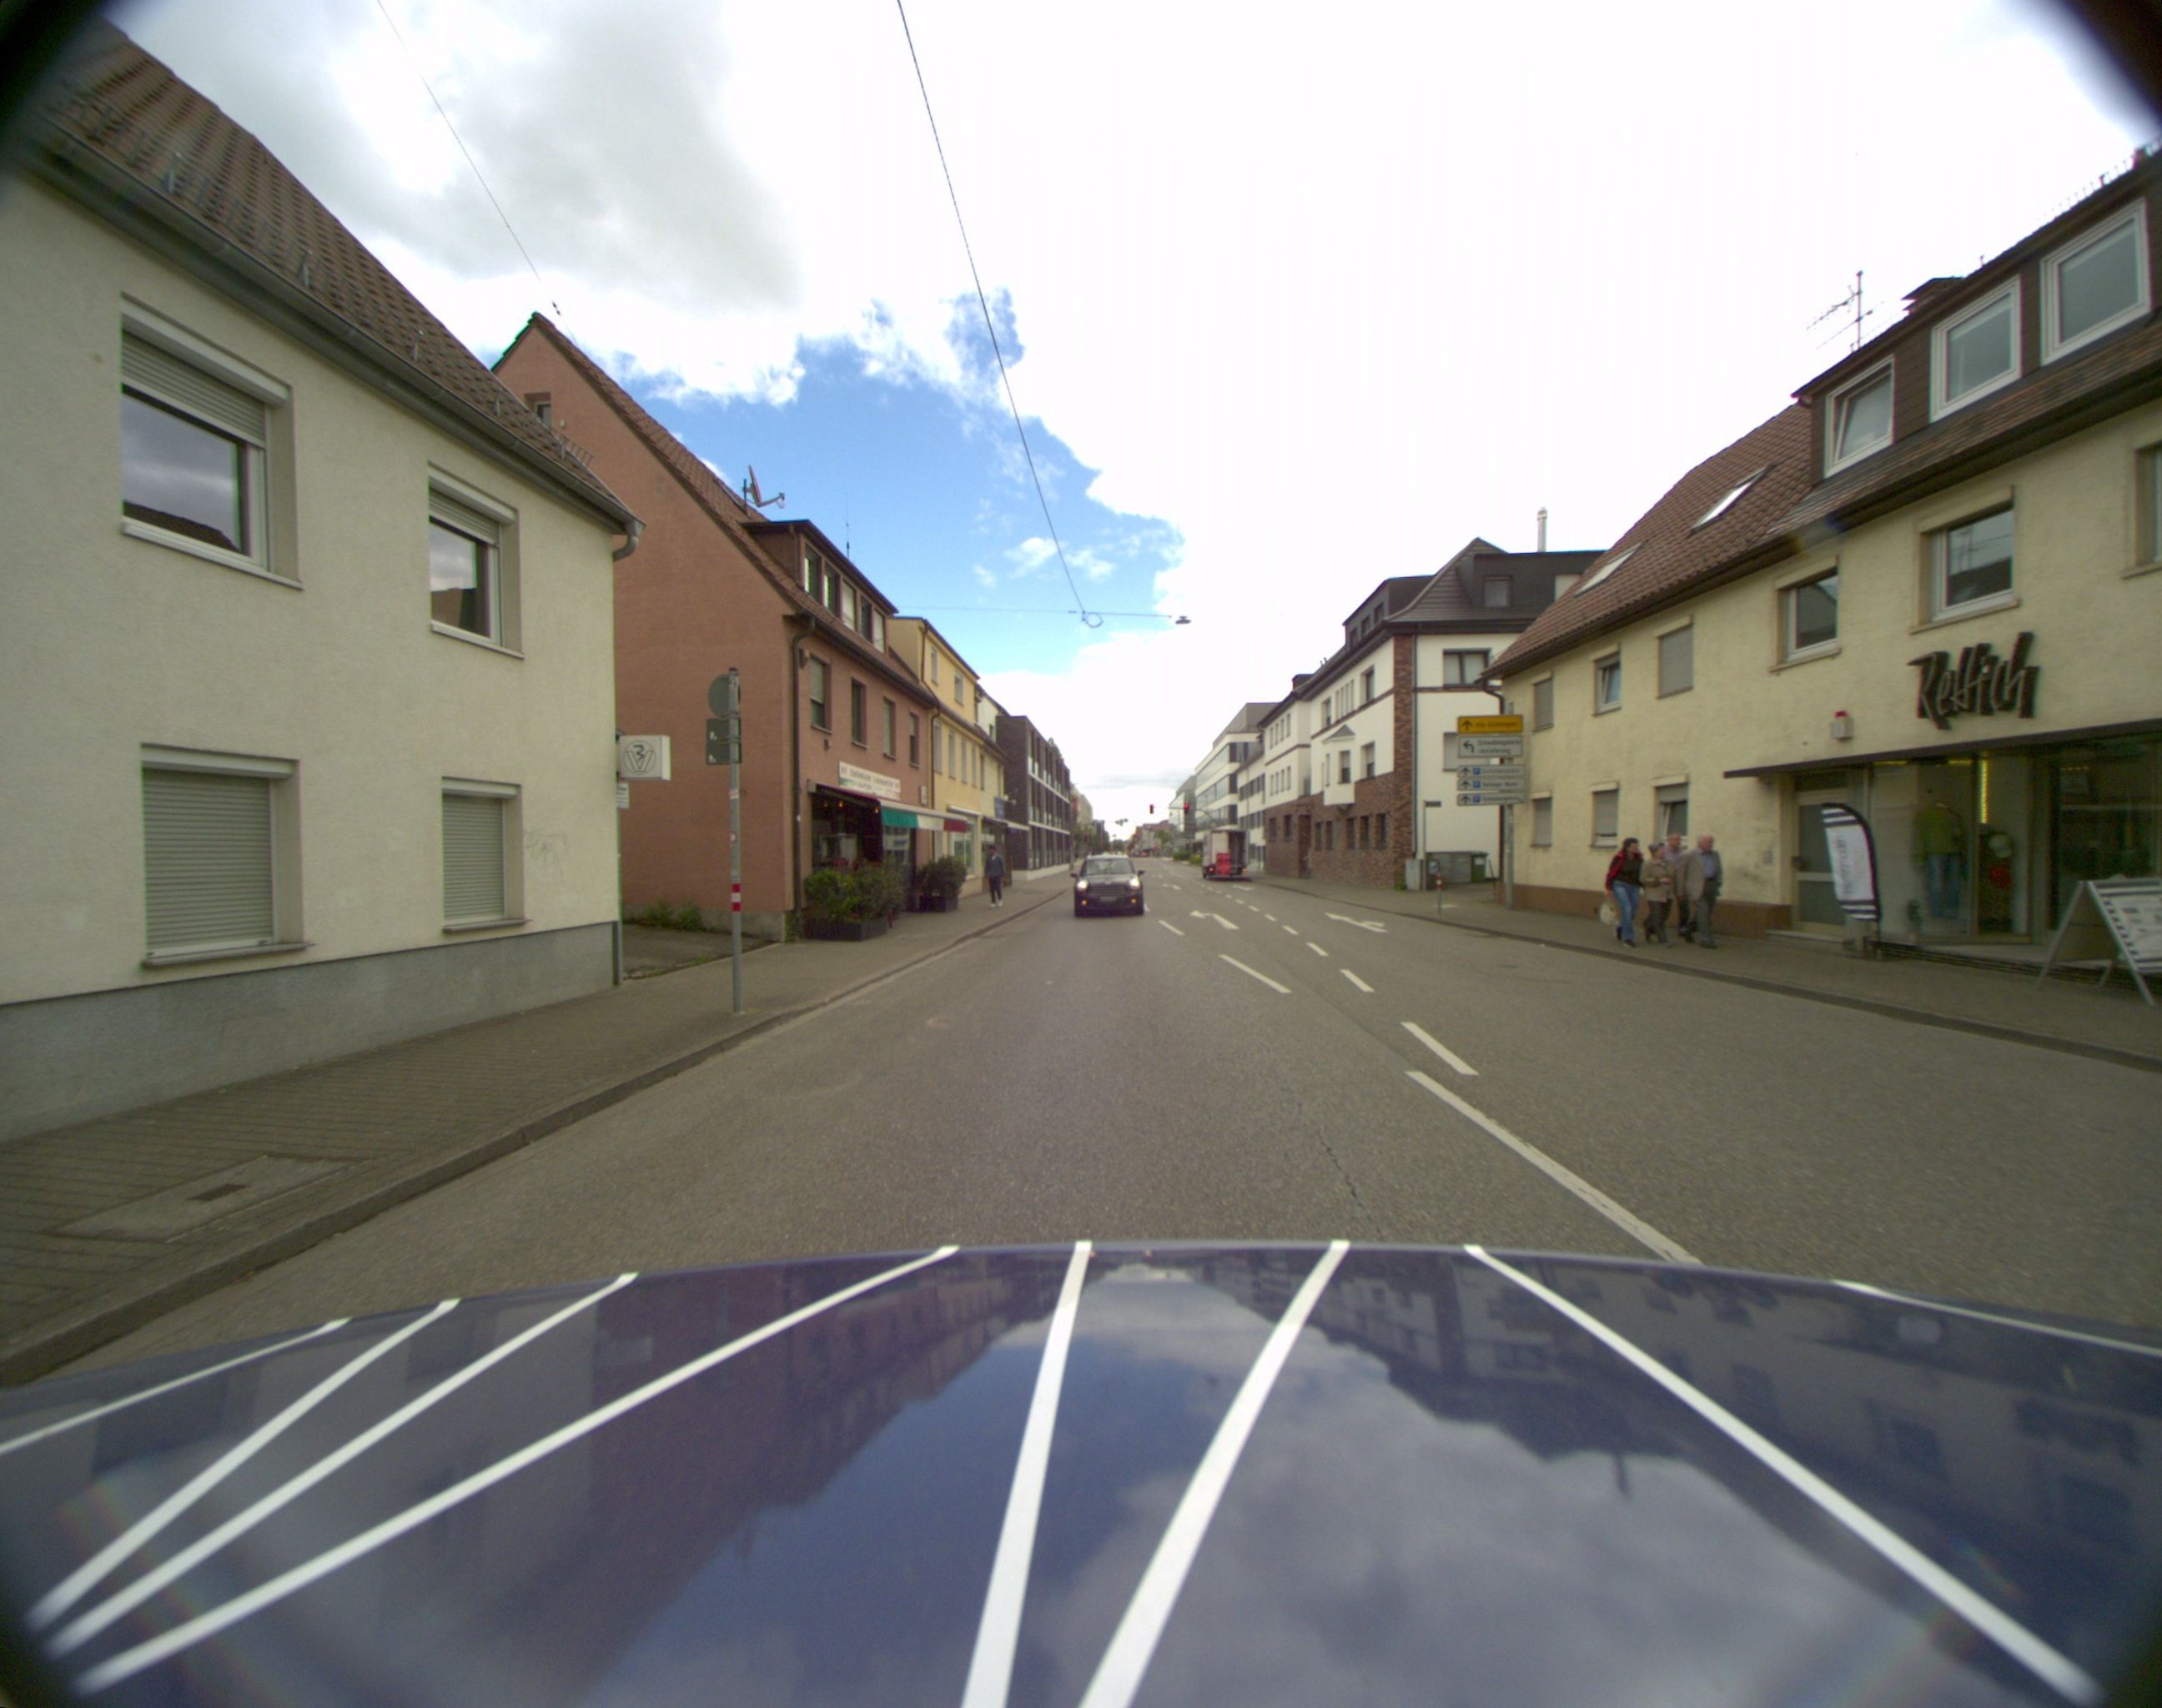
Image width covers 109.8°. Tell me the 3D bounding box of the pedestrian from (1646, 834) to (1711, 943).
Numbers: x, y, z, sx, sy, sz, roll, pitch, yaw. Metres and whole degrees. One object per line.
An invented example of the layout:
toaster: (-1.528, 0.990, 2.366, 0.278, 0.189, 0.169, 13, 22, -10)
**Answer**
pedestrian: (9.675, 0.546, 12.320, 0.554, 1.727, 0.648, 0, 1, 4)

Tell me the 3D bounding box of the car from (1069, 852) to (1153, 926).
car: (0.839, 0.812, 19.691, 1.847, 1.571, 4.430, -3, 0, 4)

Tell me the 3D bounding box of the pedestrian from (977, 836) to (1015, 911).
pedestrian: (-2.423, 0.542, 21.797, 0.826, 2.063, 1.011, 2, 1, 4)

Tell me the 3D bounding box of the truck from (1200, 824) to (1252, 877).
truck: (8.762, -0.235, 46.412, 2.467, 2.954, 5.966, -2, 1, 6)

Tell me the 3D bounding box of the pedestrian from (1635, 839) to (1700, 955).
pedestrian: (8.917, 0.635, 11.577, 0.497, 1.727, 0.648, 0, 1, 4)

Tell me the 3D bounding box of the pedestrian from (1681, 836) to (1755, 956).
pedestrian: (9.389, 0.603, 11.213, 0.554, 1.727, 0.648, 0, 1, 4)

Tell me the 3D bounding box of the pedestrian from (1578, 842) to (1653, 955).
pedestrian: (8.352, 0.674, 11.899, 0.679, 1.727, 0.717, 0, 1, 4)
